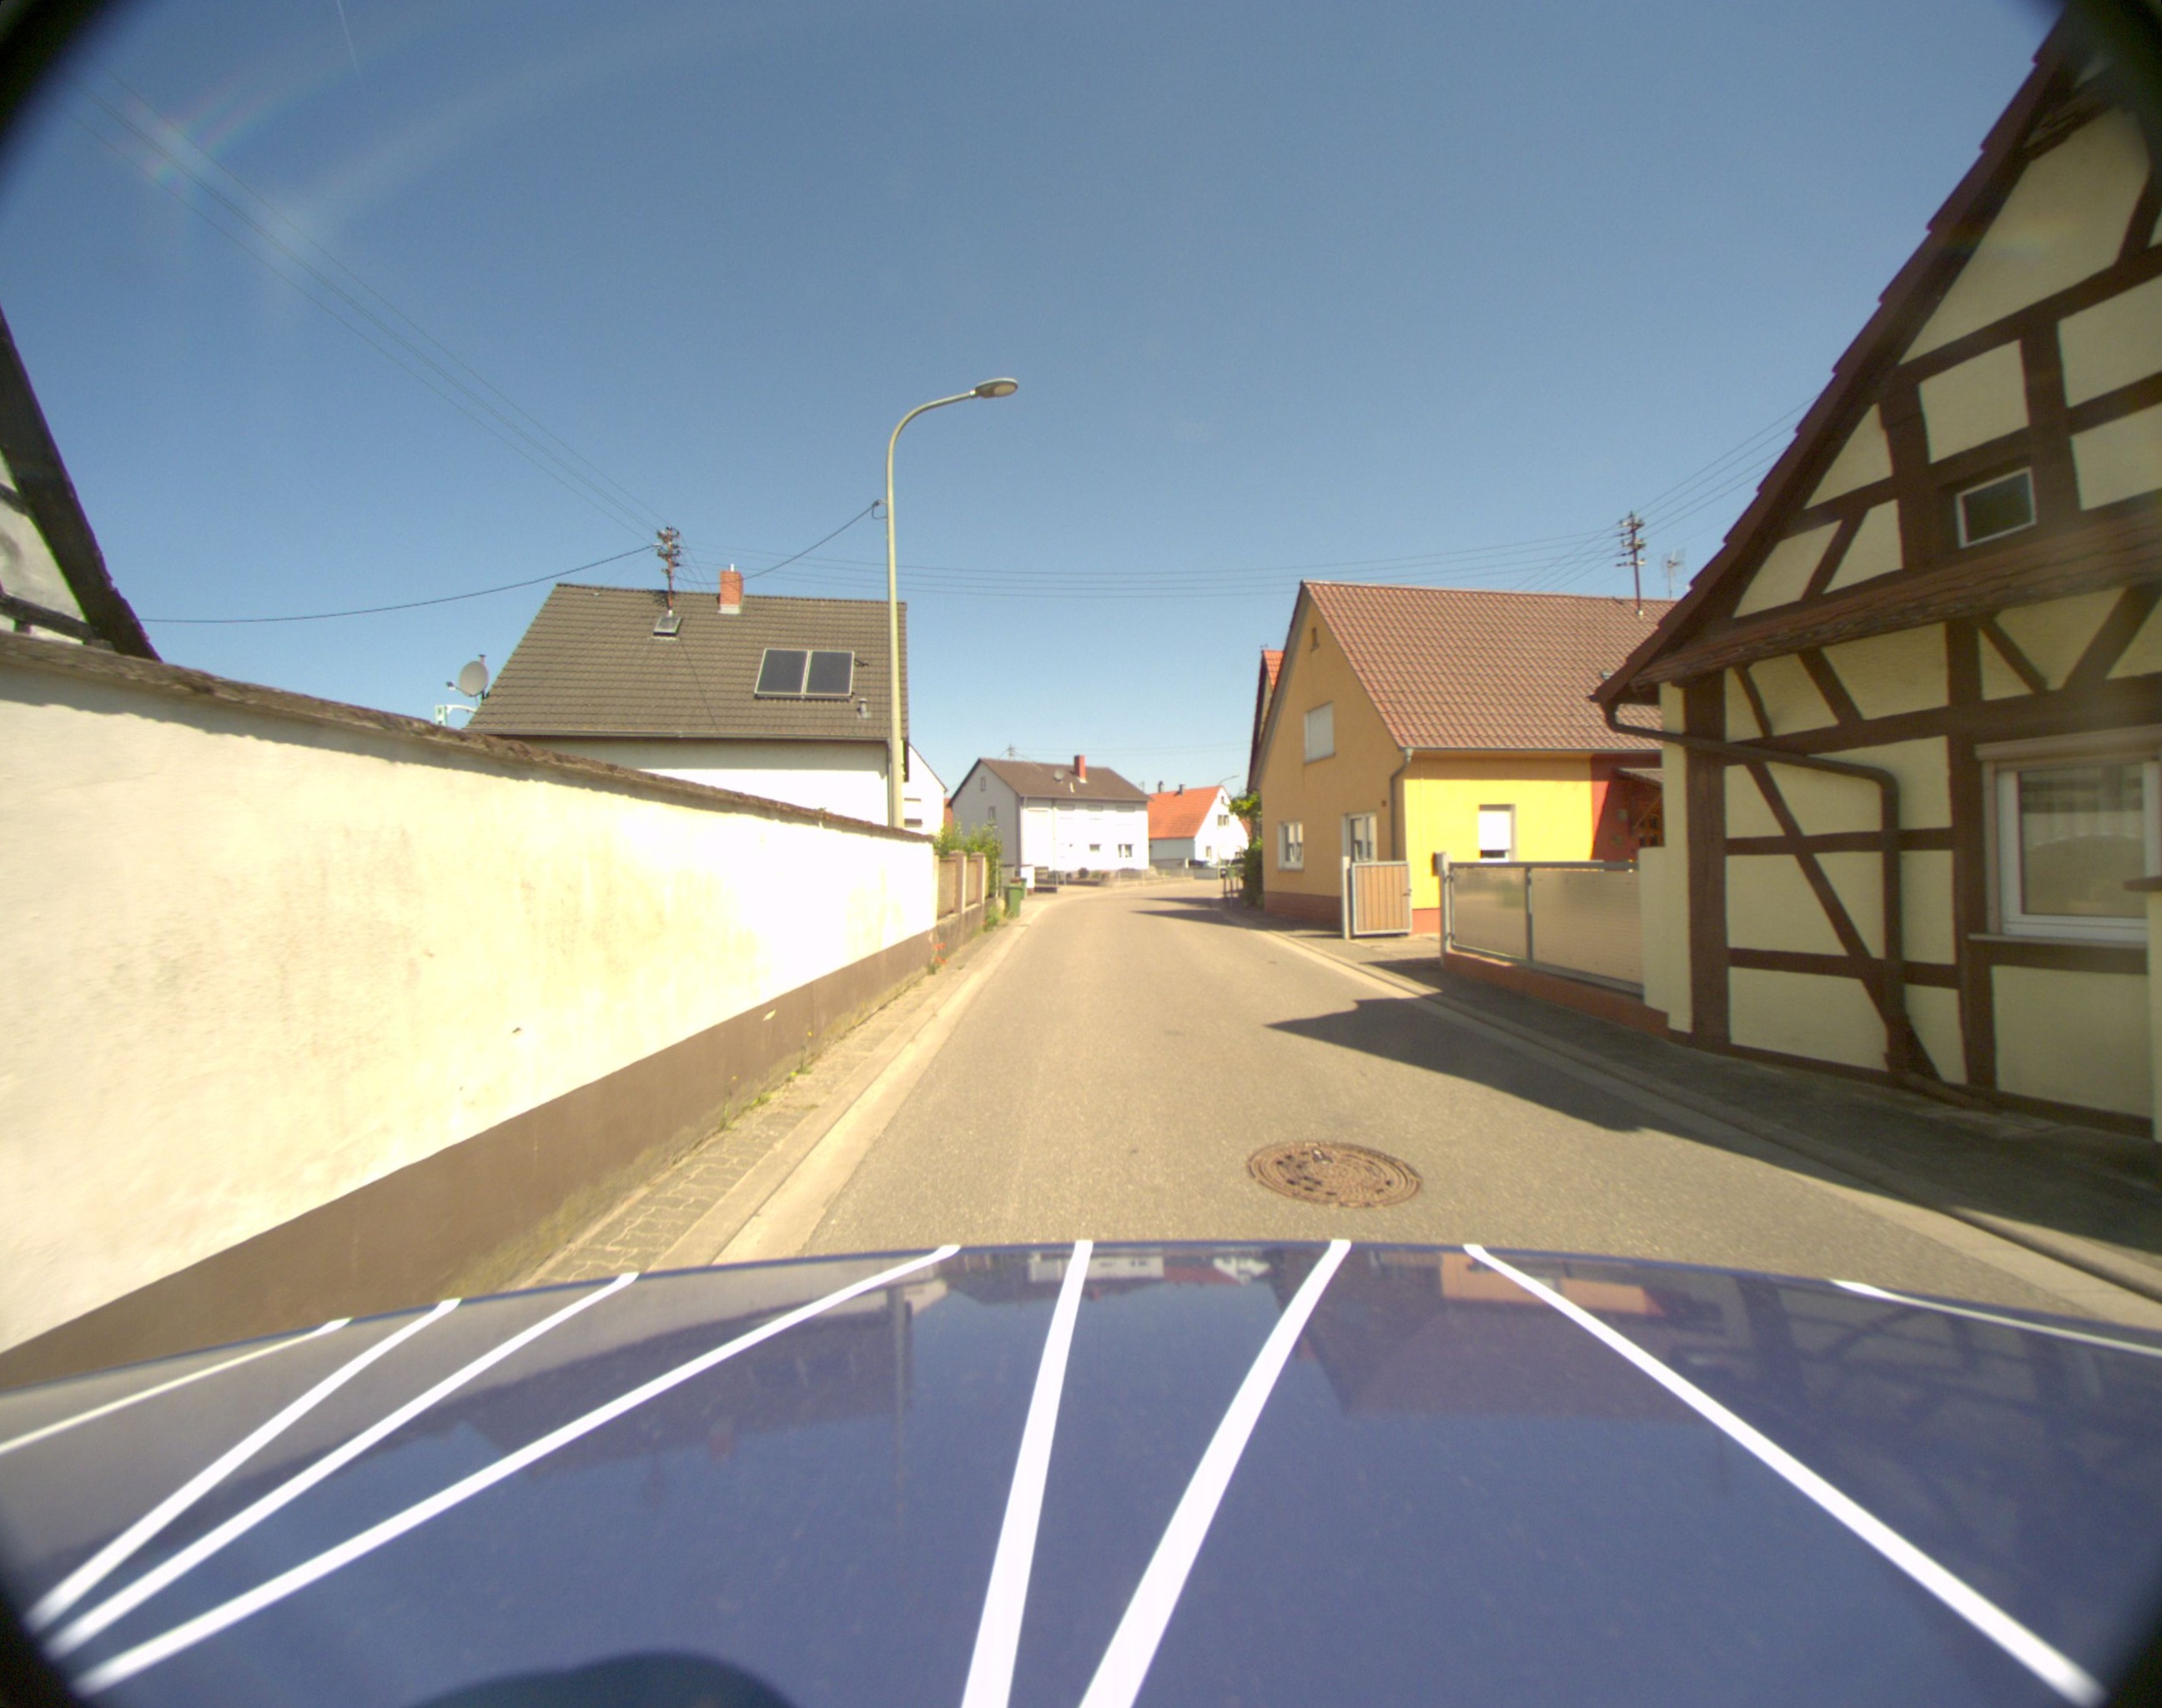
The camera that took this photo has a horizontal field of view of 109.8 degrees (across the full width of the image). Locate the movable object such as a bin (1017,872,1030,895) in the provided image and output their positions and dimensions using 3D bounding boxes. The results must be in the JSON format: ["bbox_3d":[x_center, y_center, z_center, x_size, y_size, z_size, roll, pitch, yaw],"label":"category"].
[{"bbox_3d":[-2.493,1.283,33.004,0.505,0.971,0.495,-2,0,0],"label":"movable object such as a bin"}]

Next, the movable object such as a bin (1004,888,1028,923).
[{"bbox_3d":[-1.823,1.444,21.433,0.552,0.971,0.432,-1,0,-25],"label":"movable object such as a bin"}]

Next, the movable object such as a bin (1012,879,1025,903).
[{"bbox_3d":[-2.621,1.541,31.958,0.505,0.971,0.433,-2,0,0],"label":"movable object such as a bin"}]

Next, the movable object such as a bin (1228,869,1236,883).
[{"bbox_3d":[12.166,1.749,61.204,0.570,1.136,0.433,-1,0,0],"label":"movable object such as a bin"}]

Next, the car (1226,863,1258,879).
[{"bbox_3d":[14.625,1.539,68.944,1.521,1.365,3.606,-1,-1,34],"label":"car"}]

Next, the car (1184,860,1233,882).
[{"bbox_3d":[10.855,1.457,64.937,1.705,1.834,3.989,0,-1,-40],"label":"car"}]
